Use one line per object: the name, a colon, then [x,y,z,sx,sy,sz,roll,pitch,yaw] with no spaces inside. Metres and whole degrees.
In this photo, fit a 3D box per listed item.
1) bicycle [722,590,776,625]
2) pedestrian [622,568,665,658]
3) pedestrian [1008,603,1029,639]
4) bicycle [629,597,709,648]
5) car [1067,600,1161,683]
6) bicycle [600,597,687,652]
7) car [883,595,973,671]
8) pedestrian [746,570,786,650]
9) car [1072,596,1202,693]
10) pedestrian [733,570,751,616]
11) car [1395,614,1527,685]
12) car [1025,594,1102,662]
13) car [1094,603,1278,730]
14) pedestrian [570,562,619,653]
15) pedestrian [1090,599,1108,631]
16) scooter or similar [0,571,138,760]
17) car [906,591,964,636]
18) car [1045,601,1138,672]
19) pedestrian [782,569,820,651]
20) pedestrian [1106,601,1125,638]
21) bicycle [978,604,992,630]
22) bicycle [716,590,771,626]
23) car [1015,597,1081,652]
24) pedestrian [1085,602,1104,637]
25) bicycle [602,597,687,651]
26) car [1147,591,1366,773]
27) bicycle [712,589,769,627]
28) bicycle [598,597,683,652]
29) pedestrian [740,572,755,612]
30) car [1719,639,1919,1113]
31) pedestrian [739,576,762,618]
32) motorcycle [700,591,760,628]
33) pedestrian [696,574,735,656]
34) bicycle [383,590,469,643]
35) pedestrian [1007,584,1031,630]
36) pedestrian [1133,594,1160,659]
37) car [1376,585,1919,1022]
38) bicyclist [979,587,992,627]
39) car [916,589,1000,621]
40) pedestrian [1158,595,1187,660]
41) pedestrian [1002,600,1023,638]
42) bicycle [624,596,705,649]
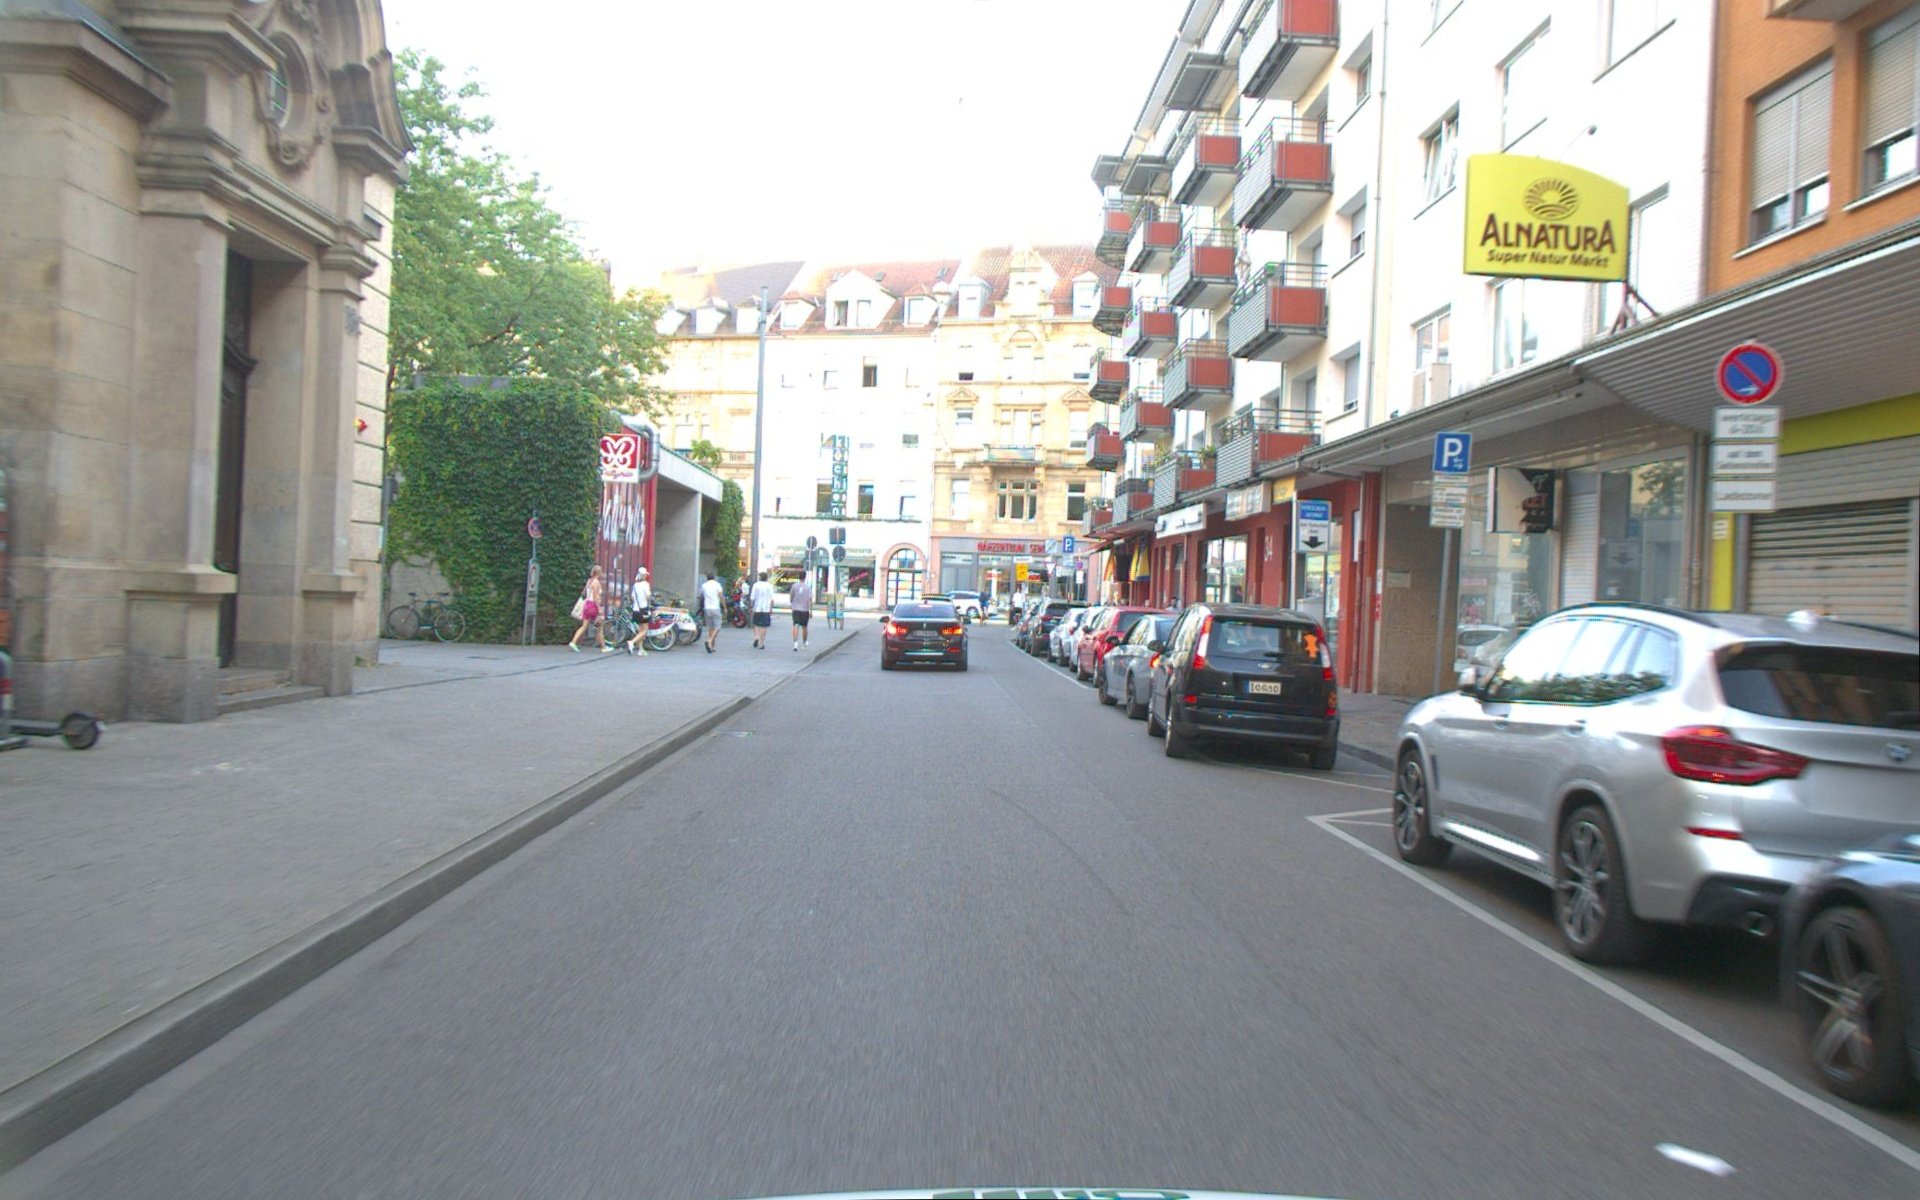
bicycle: [-7.404,0.257,58.018,1.758,1.127,0.500,4,0,-2]
pedestrian: [-6.456,0.260,33.747,0.636,1.780,0.985,2,0,-2]
pedestrian: [2.543,0.912,71.941,0.722,1.539,0.649,4,0,-10]
bicycle: [-6.919,0.530,39.376,1.757,1.127,0.500,3,0,2]
car: [3.310,0.852,36.135,1.574,1.538,4.048,4,1,0]
bicycle: [-6.923,0.534,36.221,1.758,1.127,0.500,2,0,-1]
car: [-0.654,0.646,35.189,1.729,1.398,4.790,3,1,-1]
pedestrian: [-4.640,0.230,39.541,0.726,1.844,1.008,4,0,-2]
car: [3.293,0.778,31.600,1.678,1.538,4.650,4,1,-3]
pedestrian: [-9.166,-0.311,69.612,0.571,1.915,0.634,2,0,5]
car: [10.947,1.047,36.393,1.704,1.360,4.001,2,1,1]
car: [2.931,0.763,47.842,1.729,1.670,4.789,4,1,-1]
car: [3.118,0.869,23.732,1.702,1.439,4.680,4,1,-3]
pedestrian: [-7.476,0.147,33.887,0.738,1.780,0.846,3,0,-2]
pedestrian: [5.440,0.595,64.691,0.415,1.222,0.529,-1,0,-44]
scooter or similar: [-6.472,0.446,11.597,1.113,1.254,0.495,3,0,-14]
car: [-0.870,0.471,59.740,1.838,1.498,4.002,2,1,3]
car: [3.222,0.863,41.311,1.665,1.477,4.456,4,1,-3]
pedestrian: [-3.842,0.235,40.078,0.729,1.926,1.050,3,0,-1]
pedestrian: [5.831,0.720,61.958,0.594,1.371,0.696,1,0,-2]
bicycle: [1.143,0.783,75.697,0.525,1.127,1.801,3,0,3]
bicycle: [-7.362,0.270,56.293,1.760,1.127,0.499,4,0,-6]
car: [2.809,0.767,53.731,1.729,1.528,4.790,4,1,-1]
pedestrian: [5.017,0.724,61.576,0.672,1.309,0.609,1,0,8]
bicycle: [-7.069,0.533,37.099,1.758,1.127,0.500,2,0,-3]
car: [3.142,0.783,18.355,1.757,1.637,4.488,4,1,3]
bicycle: [-7.367,0.267,55.544,1.757,1.127,0.500,4,0,1]
bicycle: [-7.056,0.534,36.564,1.758,1.127,0.500,2,0,-3]
pedestrian: [-8.868,-0.326,68.934,0.490,1.672,0.521,2,0,1]
car: [3.890,0.966,4.157,1.657,1.439,4.756,4,1,-1]
pedestrian: [-8.917,-0.127,70.492,0.661,1.776,0.654,2,0,39]
motorcycle: [-7.440,0.301,53.514,1.765,1.082,0.764,3,0,25]
pedestrian: [-5.463,0.335,36.971,0.702,1.785,0.848,2,0,-2]
bicycle: [-11.142,0.350,34.537,1.626,1.031,0.370,3,0,0]
pedestrian: [2.516,0.311,70.668,0.671,1.910,0.691,3,0,-39]
pedestrian: [4.939,0.694,43.827,0.635,1.690,0.655,-1,0,1]
car: [3.826,0.837,9.124,1.717,1.697,4.756,4,1,-1]
bicyclist: [1.168,0.328,75.674,0.513,1.787,0.620,3,0,3]
car: [-0.094,0.287,91.689,4.262,1.589,1.868,2,-1,22]
pedestrian: [5.613,0.715,43.720,0.635,1.690,0.794,-1,0,1]
pedestrian: [2.305,0.839,72.606,0.711,1.636,0.649,3,0,-10]
bicycle: [-6.922,0.524,38.743,1.757,1.127,0.500,3,0,2]
